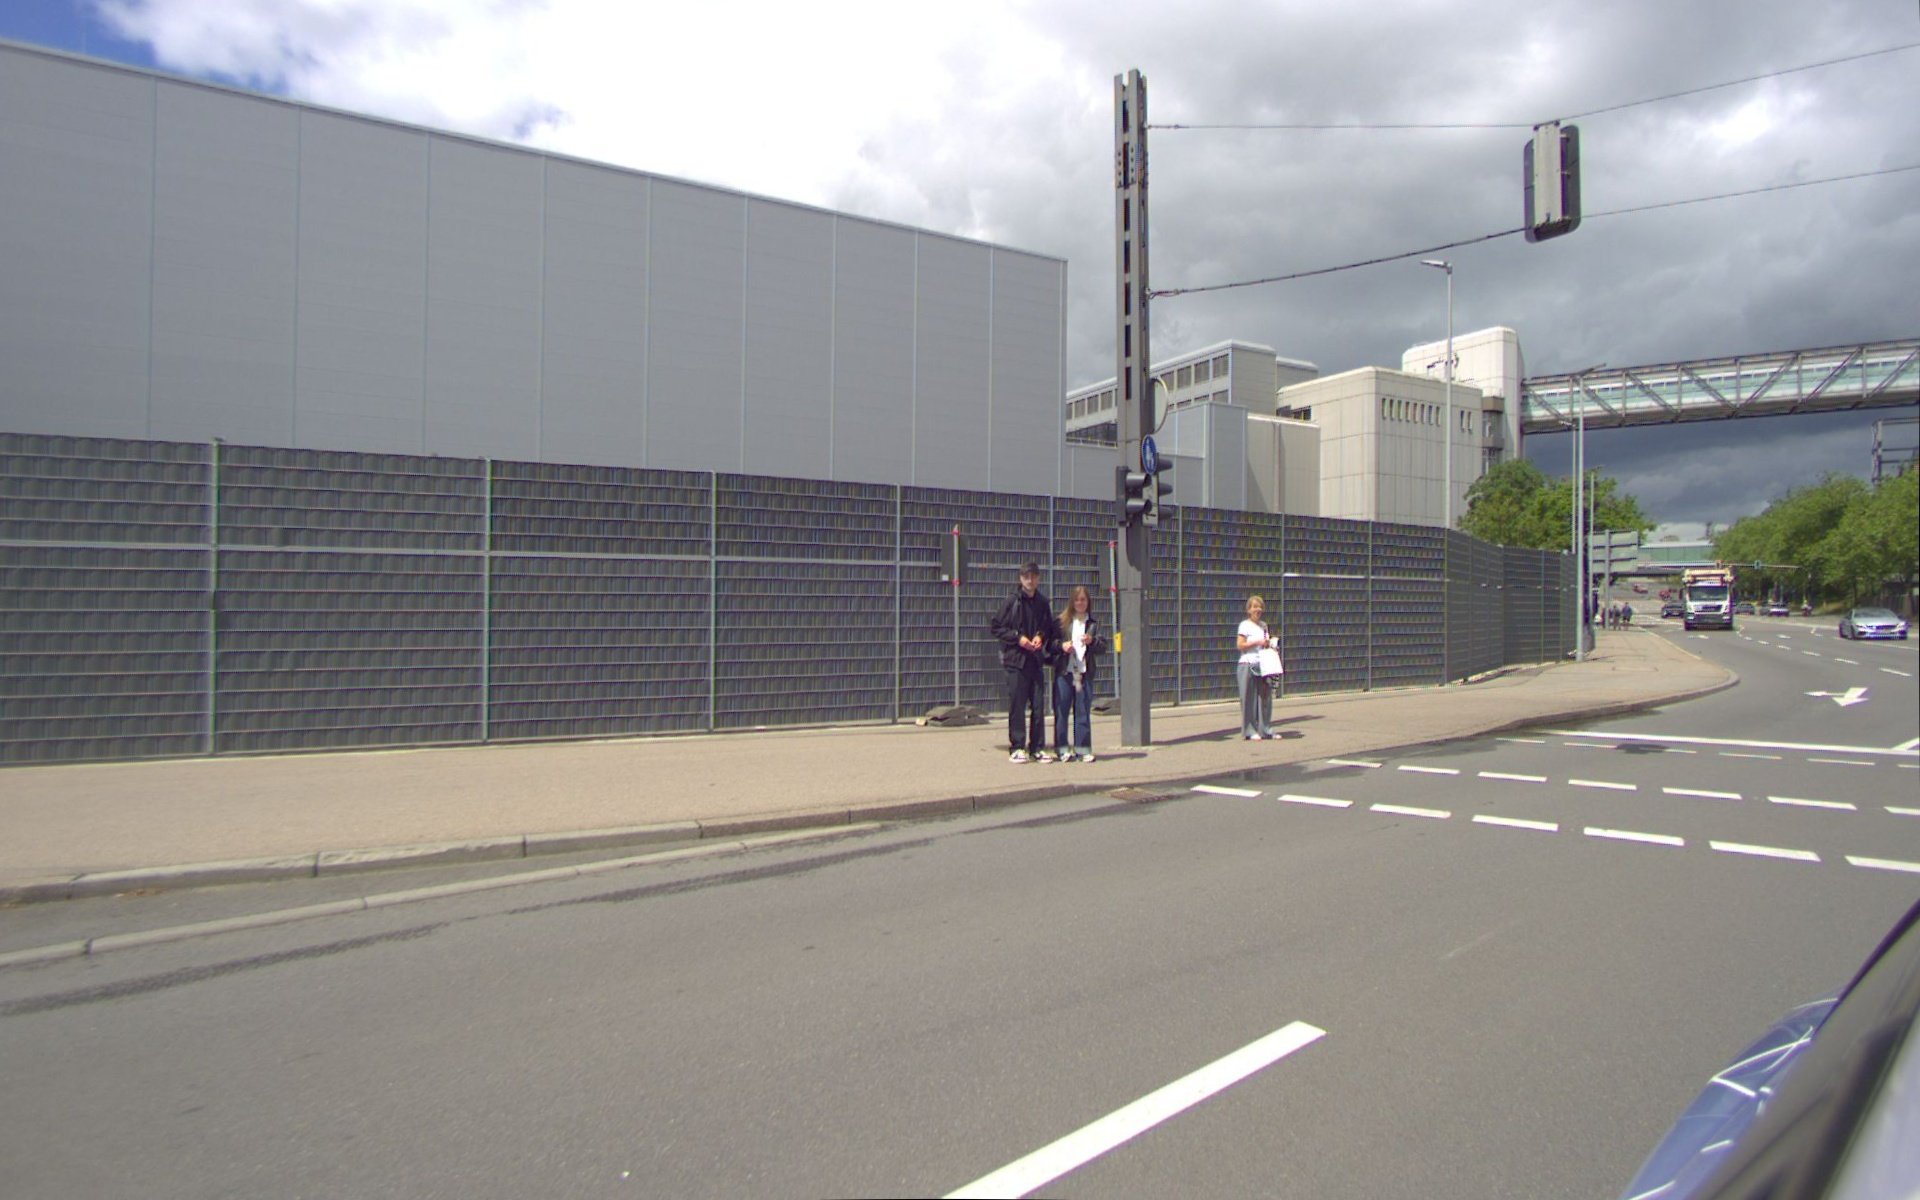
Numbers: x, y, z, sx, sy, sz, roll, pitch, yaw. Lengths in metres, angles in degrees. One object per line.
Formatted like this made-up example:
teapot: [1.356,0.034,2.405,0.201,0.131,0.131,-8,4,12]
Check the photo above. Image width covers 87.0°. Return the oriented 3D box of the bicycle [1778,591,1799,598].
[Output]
bicycle: [128.662,-0.822,157.127,2.552,1.099,0.607,-1,0,41]

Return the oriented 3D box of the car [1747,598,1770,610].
car: [97.106,0.475,123.115,1.684,1.432,4.097,2,2,32]

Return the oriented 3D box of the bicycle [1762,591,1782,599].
bicycle: [134.106,-0.823,167.206,2.546,1.193,0.608,-1,0,34]

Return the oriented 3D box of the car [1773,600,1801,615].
car: [91.192,0.780,111.626,1.871,1.524,4.141,2,1,33]

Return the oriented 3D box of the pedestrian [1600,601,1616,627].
pedestrian: [40.334,0.873,63.004,0.790,1.617,0.724,-1,0,30]

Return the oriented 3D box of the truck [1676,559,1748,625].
truck: [48.744,-0.530,65.854,2.693,3.934,10.623,-1,0,31]

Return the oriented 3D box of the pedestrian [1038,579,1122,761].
pedestrian: [1.115,0.635,9.473,0.650,1.636,0.466,-1,0,-5]

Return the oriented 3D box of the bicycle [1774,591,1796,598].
bicycle: [127.710,-0.811,156.684,2.551,1.099,0.607,-1,0,39]

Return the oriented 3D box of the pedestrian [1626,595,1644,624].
pedestrian: [40.427,0.568,60.653,0.790,1.742,0.724,-1,0,29]

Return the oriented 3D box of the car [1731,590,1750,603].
car: [109.871,-0.509,142.548,1.733,1.600,4.217,2,2,33]

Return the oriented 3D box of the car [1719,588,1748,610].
car: [75.780,-0.146,99.181,1.859,1.980,4.656,-2,0,33]

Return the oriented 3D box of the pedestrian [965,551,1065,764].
pedestrian: [0.498,0.512,9.428,0.777,1.890,0.662,-1,0,-6]

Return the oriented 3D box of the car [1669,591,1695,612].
car: [72.945,0.151,102.277,1.859,1.980,4.656,-2,0,33]

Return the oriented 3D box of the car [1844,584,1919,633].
car: [41.091,0.340,45.128,1.859,1.980,4.656,-2,0,33]

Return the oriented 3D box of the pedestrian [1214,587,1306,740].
pedestrian: [3.368,0.678,11.344,0.659,1.628,0.810,-2,0,44]
